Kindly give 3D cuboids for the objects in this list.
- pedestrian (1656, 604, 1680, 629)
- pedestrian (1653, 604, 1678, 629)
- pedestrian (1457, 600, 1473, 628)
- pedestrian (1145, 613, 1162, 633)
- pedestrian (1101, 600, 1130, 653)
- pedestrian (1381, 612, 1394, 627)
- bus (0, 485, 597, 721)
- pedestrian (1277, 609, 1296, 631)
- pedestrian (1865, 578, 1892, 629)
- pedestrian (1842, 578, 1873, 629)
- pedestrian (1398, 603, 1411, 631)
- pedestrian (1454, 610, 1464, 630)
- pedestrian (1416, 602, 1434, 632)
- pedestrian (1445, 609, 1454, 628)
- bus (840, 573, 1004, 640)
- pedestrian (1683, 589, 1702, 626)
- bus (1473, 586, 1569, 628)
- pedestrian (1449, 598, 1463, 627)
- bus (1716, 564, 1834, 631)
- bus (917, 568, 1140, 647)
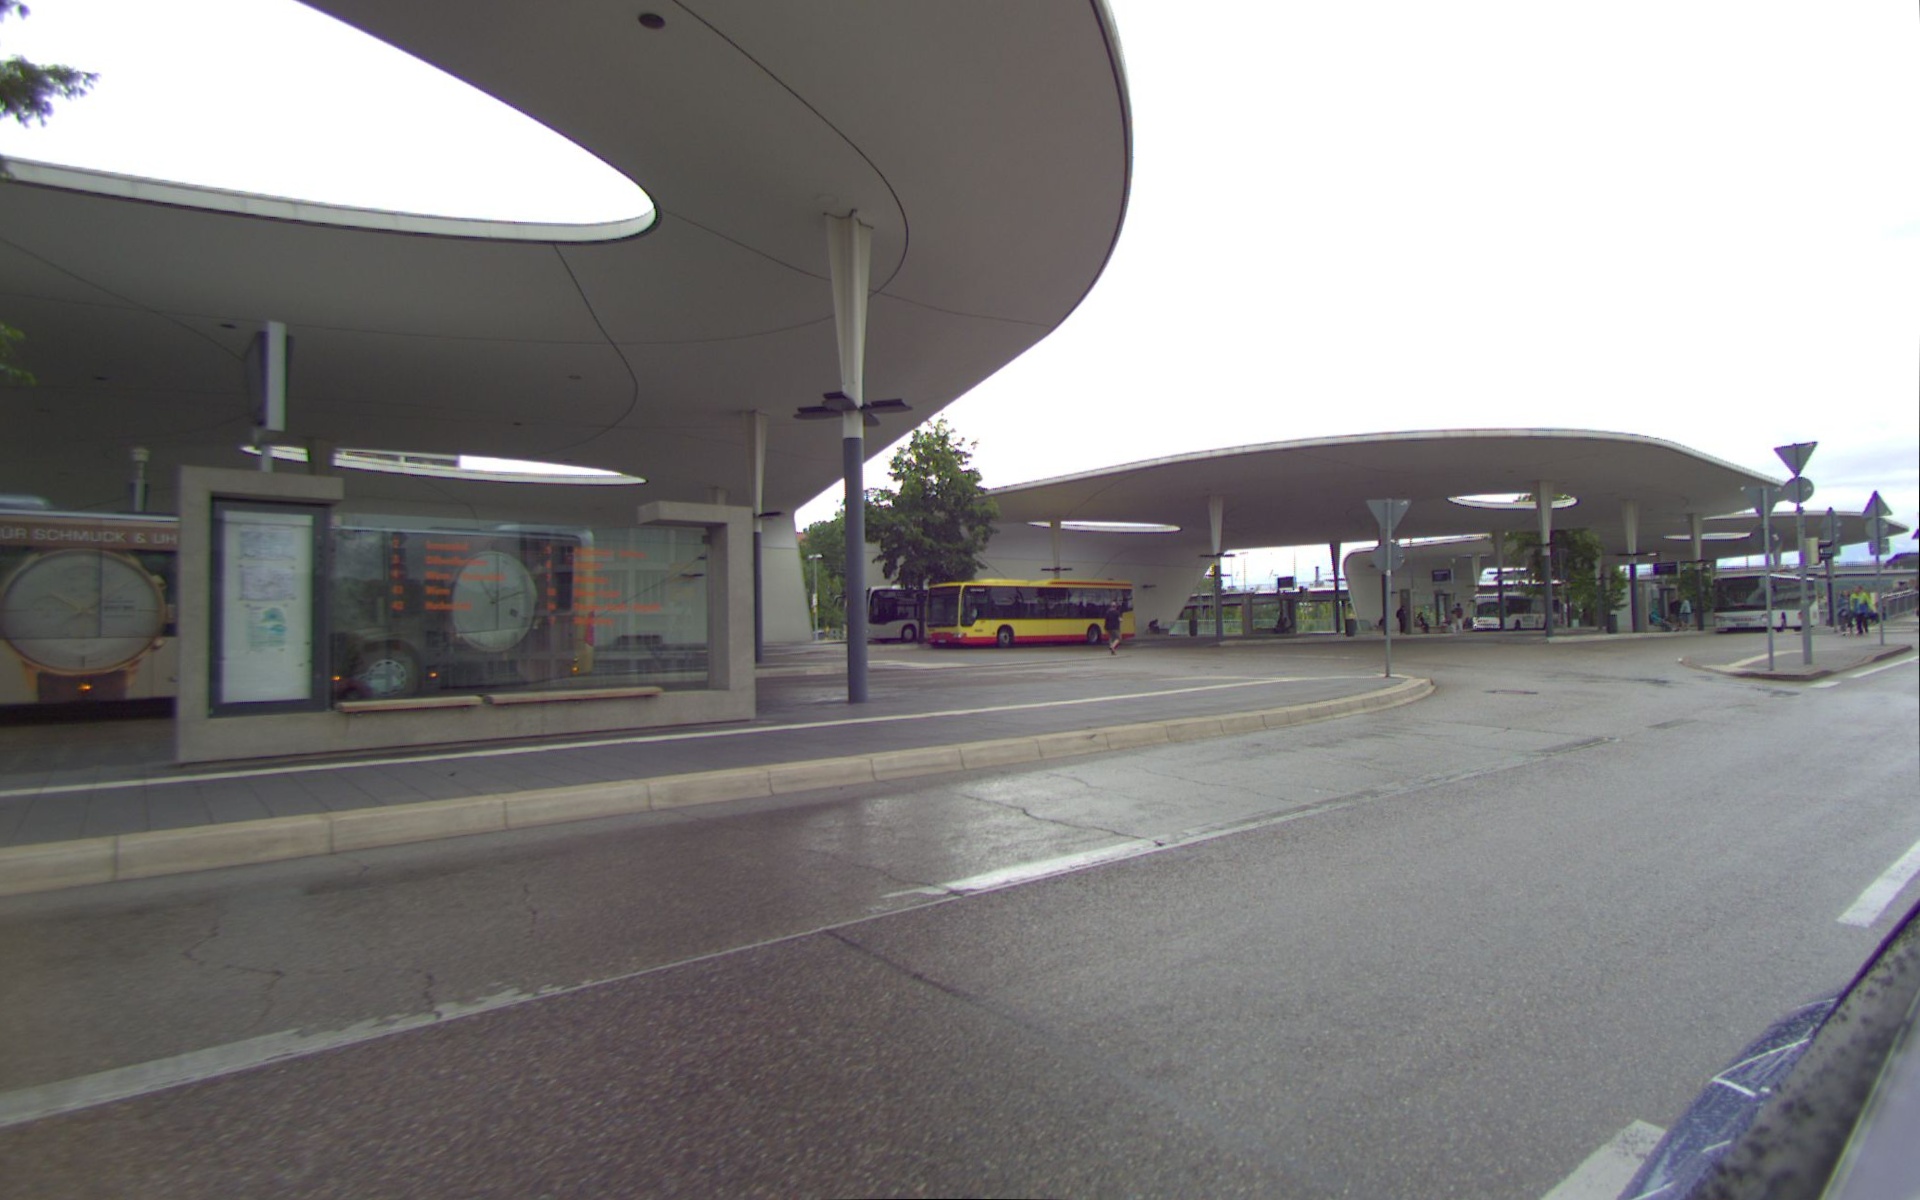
[{"bbox_3d":[36.613,0.846,52.340,0.944,1.271,0.642,1,-1,27],"label":"pedestrian"},{"bbox_3d":[36.943,0.839,52.986,0.944,1.271,0.642,1,-1,27],"label":"pedestrian"},{"bbox_3d":[30.101,0.819,60.322,0.632,1.676,0.637,-1,-1,11],"label":"pedestrian"},{"bbox_3d":[14.098,1.649,73.741,0.787,1.341,0.711,-4,-2,-36],"label":"pedestrian"},{"bbox_3d":[5.193,0.869,33.808,0.712,1.705,1.013,0,0,25],"label":"pedestrian"},{"bbox_3d":[40.428,1.871,95.762,0.698,1.341,0.801,-4,-2,-34],"label":"pedestrian"},{"bbox_3d":[-11.930,0.044,15.413,11.873,3.082,2.727,0,-1,-40],"label":"bus"},{"bbox_3d":[21.054,1.291,65.184,0.786,1.341,0.711,-4,-2,-32],"label":"pedestrian"},{"bbox_3d":[31.219,0.110,34.387,0.570,1.691,0.523,-3,-1,-40],"label":"pedestrian"},{"bbox_3d":[30.875,0.125,34.815,0.570,1.691,0.590,-5,-1,-40],"label":"pedestrian"},{"bbox_3d":[24.651,0.950,56.138,0.513,1.521,0.380,-1,-1,11],"label":"pedestrian"},{"bbox_3d":[28.746,1.139,58.318,0.357,1.160,0.395,-1,-1,2],"label":"pedestrian"},{"bbox_3d":[26.338,0.970,57.290,0.667,1.610,0.588,-4,-3,-44],"label":"pedestrian"},{"bbox_3d":[28.327,1.087,58.557,0.345,1.095,0.392,-1,-1,2],"label":"pedestrian"},{"bbox_3d":[-1.931,0.329,56.052,9.686,3.443,2.518,0,-1,-41],"label":"bus"},{"bbox_3d":[37.708,0.385,52.094,0.636,1.911,0.587,2,-1,-30],"label":"pedestrian"},{"bbox_3d":[46.515,0.529,83.704,11.926,3.299,2.793,-1,-1,-40],"label":"bus"},{"bbox_3d":[29.253,0.723,59.687,0.546,1.676,0.571,0,-1,-34],"label":"pedestrian"},{"bbox_3d":[45.455,-0.152,56.235,12.205,3.404,2.850,0,0,-40],"label":"bus"},{"bbox_3d":[3.524,0.226,47.458,11.932,3.299,2.792,-1,-1,-42],"label":"bus"}]
